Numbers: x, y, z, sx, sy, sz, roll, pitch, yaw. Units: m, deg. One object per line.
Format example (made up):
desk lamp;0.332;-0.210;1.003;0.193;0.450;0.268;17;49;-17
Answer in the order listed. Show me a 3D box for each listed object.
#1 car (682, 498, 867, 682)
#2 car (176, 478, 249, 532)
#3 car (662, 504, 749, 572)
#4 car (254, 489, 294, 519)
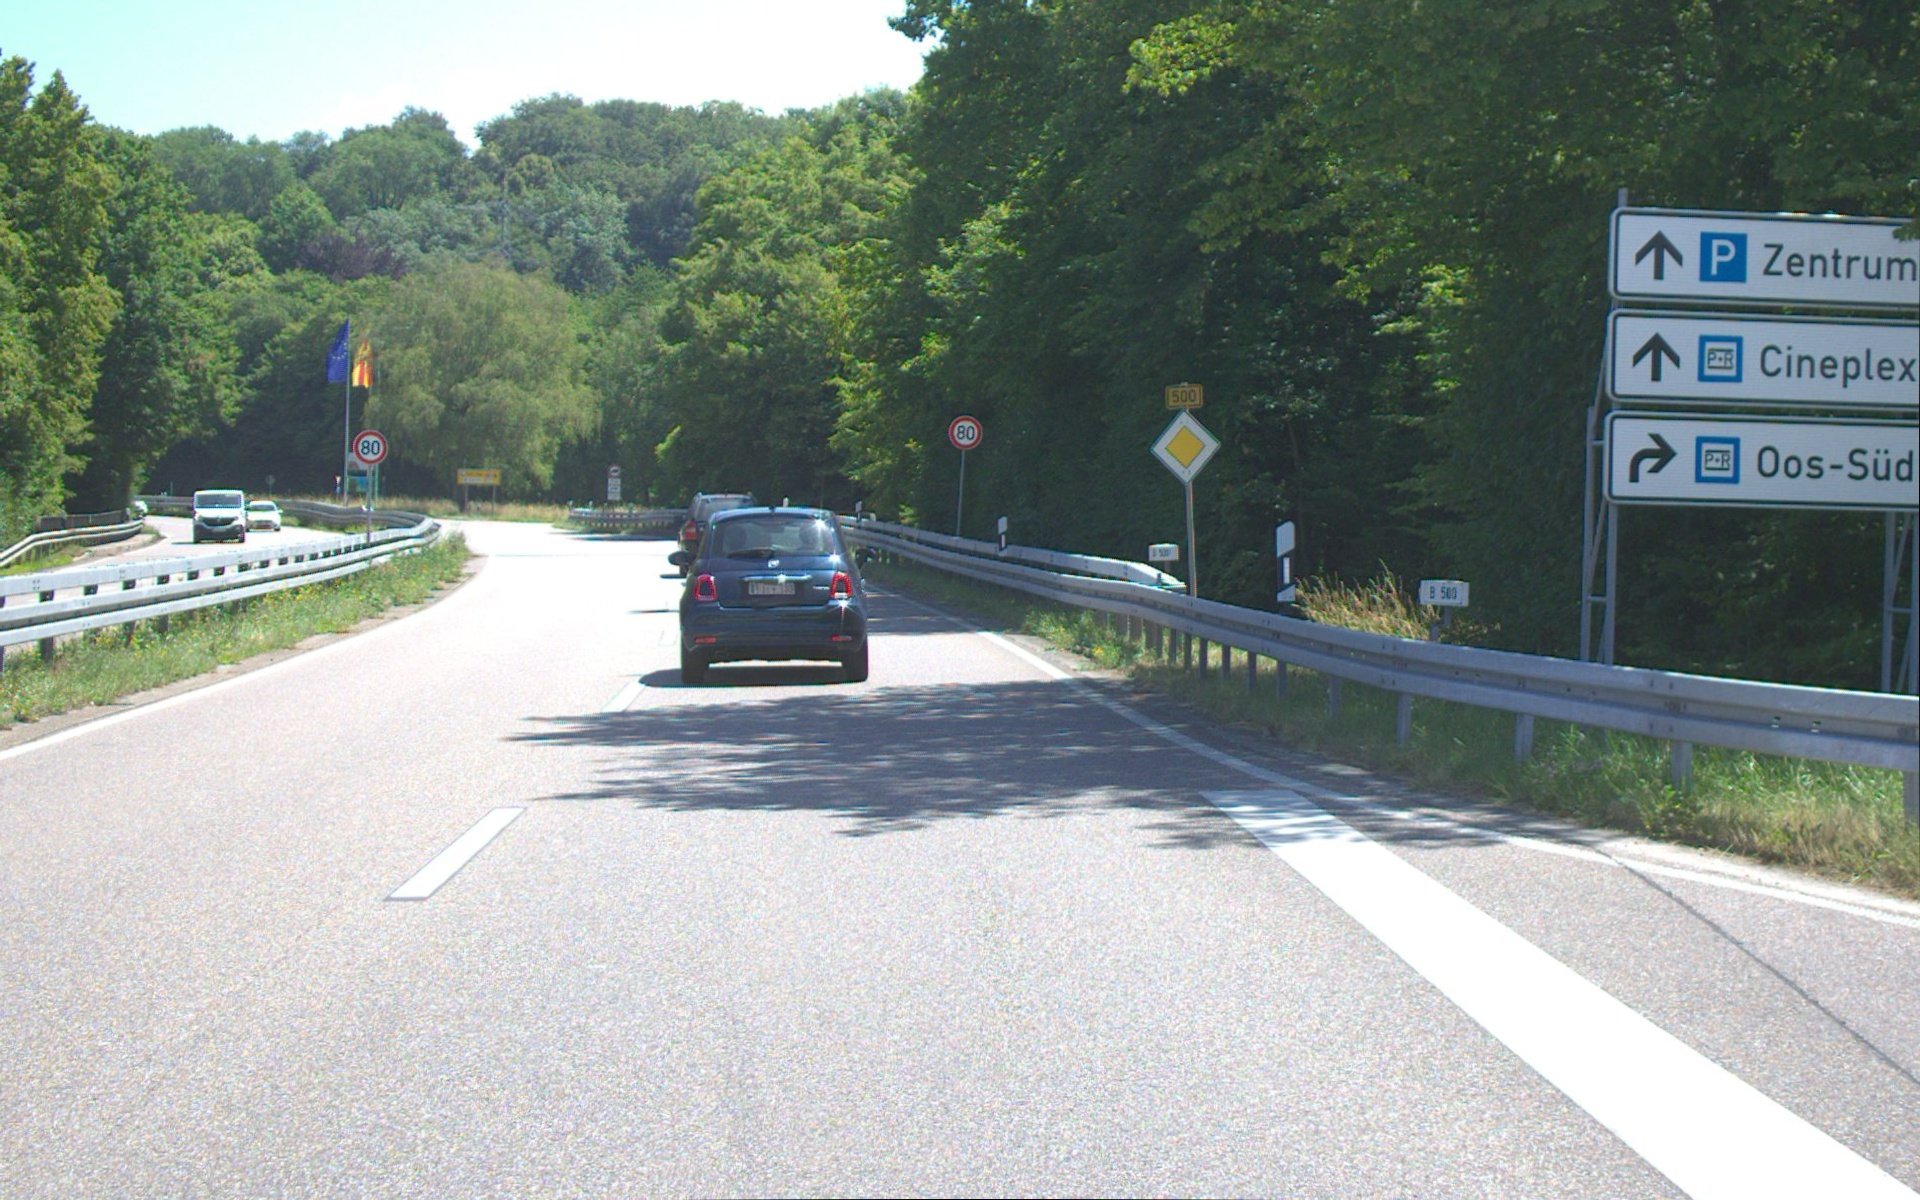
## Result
car;-1.672;-0.136;30.403;1.513;1.495;3.591;-1;2;-4
car;-27.778;-3.547;127.907;1.989;1.944;5.641;-1;2;-6
car;-5.202;-1.283;69.939;1.525;1.309;3.416;-1;2;-8
car;-33.993;-4.777;170.466;1.651;1.442;4.221;-1;2;-7
